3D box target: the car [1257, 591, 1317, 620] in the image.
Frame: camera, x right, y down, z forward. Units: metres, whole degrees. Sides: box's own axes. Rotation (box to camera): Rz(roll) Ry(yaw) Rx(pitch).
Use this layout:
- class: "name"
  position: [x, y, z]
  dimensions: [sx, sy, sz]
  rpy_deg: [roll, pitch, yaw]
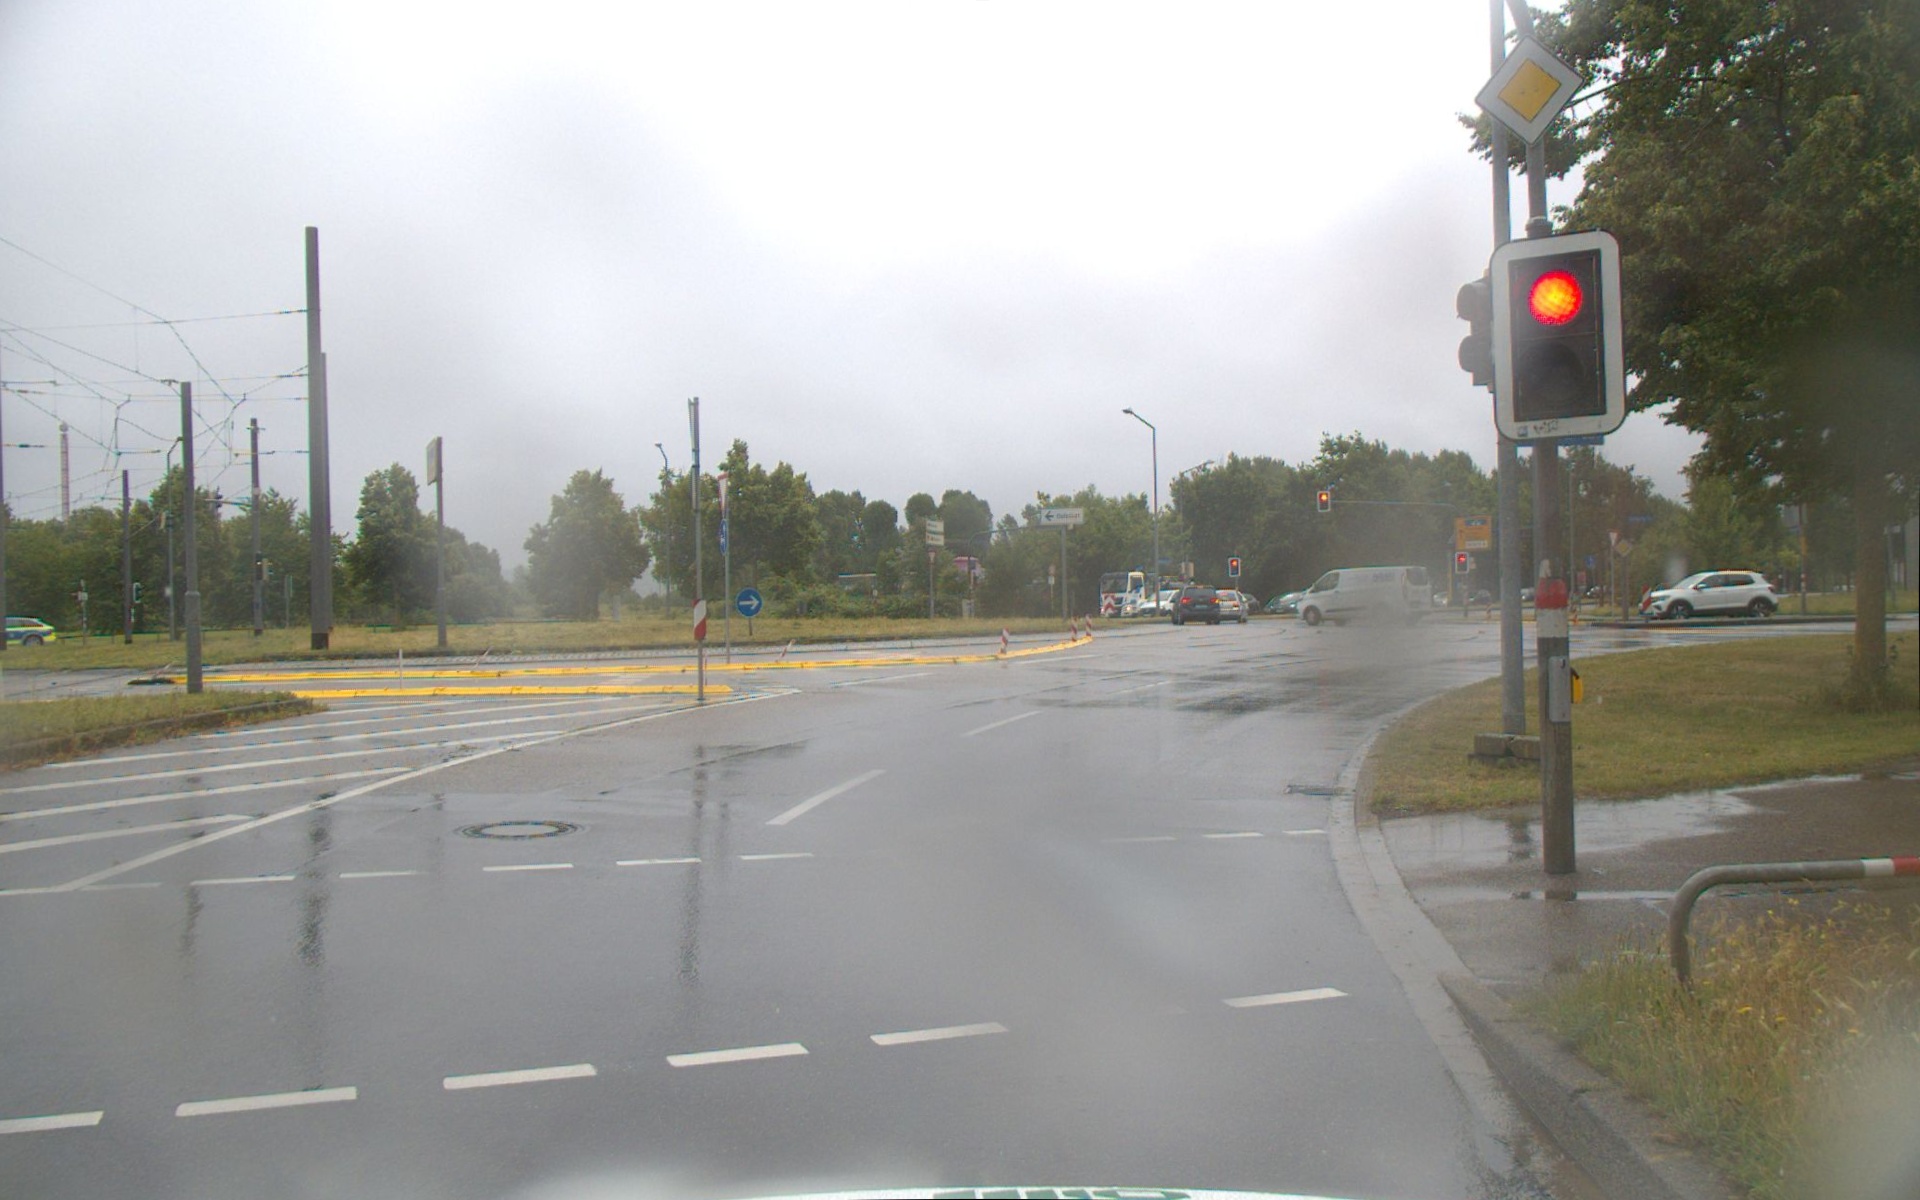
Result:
- class: "car"
  position: [20.297, 0.325, 102.530]
  dimensions: [1.769, 1.691, 4.386]
  rpy_deg: [0, -1, 40]

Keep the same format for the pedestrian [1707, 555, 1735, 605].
- class: "pedestrian"
  position: [29.260, -0.753, 63.562]
  dimensions: [0.799, 1.901, 0.668]
  rpy_deg: [1, -1, 7]

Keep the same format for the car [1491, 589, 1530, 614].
- class: "car"
  position: [47.038, 0.109, 141.285]
  dimensions: [1.961, 2.049, 3.983]
  rpy_deg: [0, -1, 37]

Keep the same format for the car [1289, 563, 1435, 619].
- class: "car"
  position: [14.159, -0.312, 58.427]
  dimensions: [4.695, 1.884, 1.986]
  rpy_deg: [0, -1, 45]

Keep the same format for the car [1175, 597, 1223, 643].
- class: "car"
  position: [10.314, 0.859, 71.447]
  dimensions: [1.951, 1.884, 4.779]
  rpy_deg: [1, -1, 8]

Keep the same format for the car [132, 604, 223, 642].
- class: "car"
  position: [-40.105, 1.200, 84.846]
  dimensions: [1.644, 1.848, 3.994]
  rpy_deg: [1, -1, 28]

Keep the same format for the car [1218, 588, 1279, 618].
- class: "car"
  position: [17.129, 0.204, 98.072]
  dimensions: [1.769, 1.691, 3.979]
  rpy_deg: [0, -1, 40]

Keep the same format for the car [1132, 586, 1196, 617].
- class: "car"
  position: [11.942, 0.084, 96.566]
  dimensions: [1.769, 1.691, 4.112]
  rpy_deg: [0, -1, 40]

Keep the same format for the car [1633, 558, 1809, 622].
- class: "car"
  position: [24.178, -0.316, 52.665]
  dimensions: [4.660, 1.883, 2.001]
  rpy_deg: [-1, 0, 4]

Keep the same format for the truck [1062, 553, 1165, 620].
- class: "truck"
  position: [6.989, -0.545, 74.208]
  dimensions: [2.411, 2.733, 8.058]
  rpy_deg: [1, -1, 22]

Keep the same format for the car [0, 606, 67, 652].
- class: "car"
  position: [-40.582, 1.247, 69.813]
  dimensions: [1.967, 1.883, 4.741]
  rpy_deg: [-1, 0, 45]

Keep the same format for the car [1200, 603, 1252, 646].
- class: "car"
  position: [12.474, 1.152, 77.328]
  dimensions: [1.951, 1.884, 4.779]
  rpy_deg: [1, -1, 14]

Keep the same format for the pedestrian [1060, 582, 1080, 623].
- class: "pedestrian"
  position: [3.626, 0.090, 54.362]
  dimensions: [0.445, 1.327, 0.484]
  rpy_deg: [-1, 0, 38]
